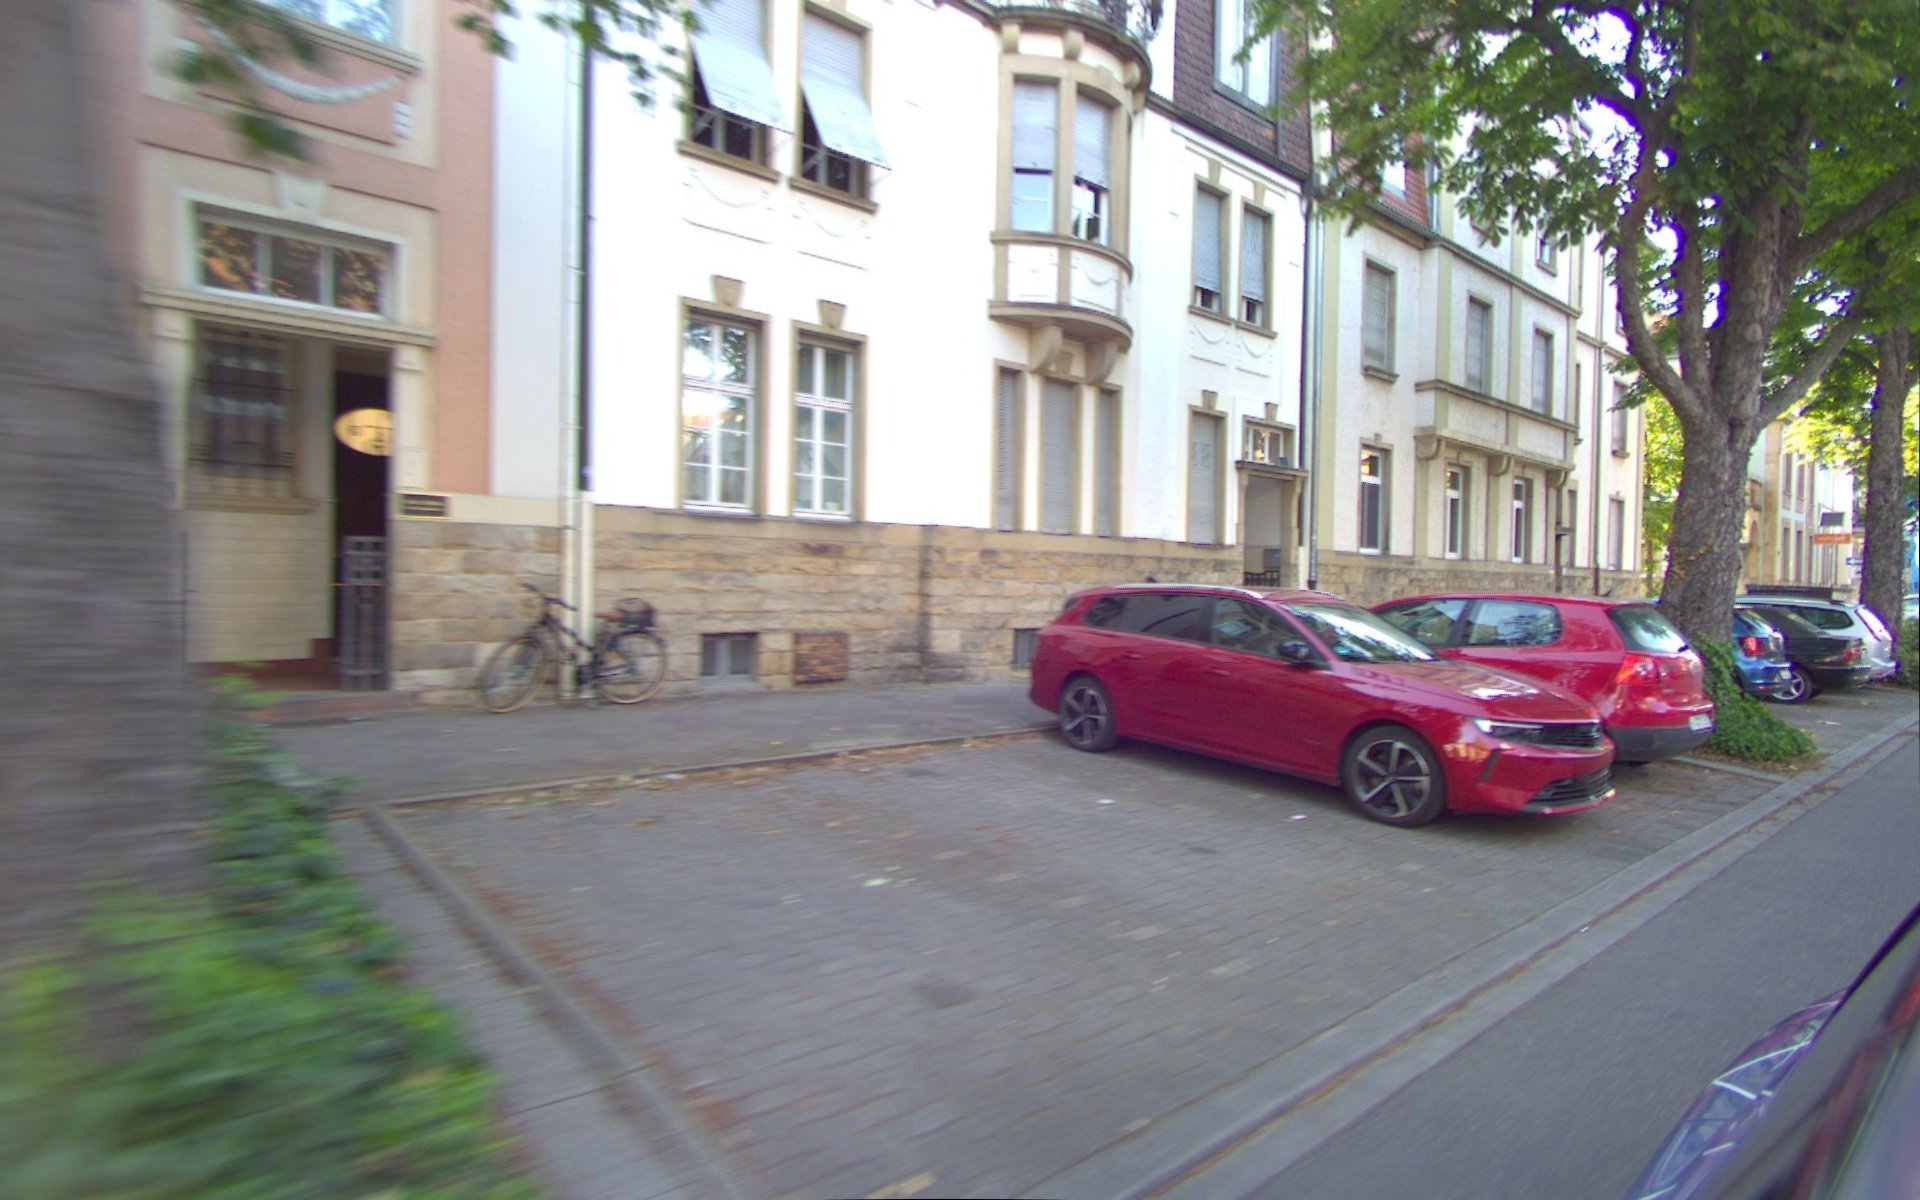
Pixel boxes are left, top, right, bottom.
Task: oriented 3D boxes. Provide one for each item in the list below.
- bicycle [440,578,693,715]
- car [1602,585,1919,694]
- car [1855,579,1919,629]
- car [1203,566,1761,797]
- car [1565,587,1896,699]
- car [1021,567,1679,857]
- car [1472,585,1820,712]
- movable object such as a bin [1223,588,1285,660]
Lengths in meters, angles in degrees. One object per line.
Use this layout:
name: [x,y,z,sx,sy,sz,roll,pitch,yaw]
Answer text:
bicycle: [-3.389,0.362,8.862,2.010,1.069,0.475,0,3,-42]
car: [13.701,0.568,17.422,1.682,1.596,4.155,0,1,-40]
car: [37.232,0.218,38.622,1.965,1.829,4.324,0,3,-40]
car: [4.542,0.523,9.410,1.818,1.493,4.203,0,3,-38]
car: [11.796,0.558,15.680,1.786,1.455,3.801,0,2,-40]
car: [2.641,0.559,7.867,1.842,1.436,4.425,0,3,-38]
car: [9.560,0.565,14.348,1.533,1.501,3.801,0,1,-40]
movable object such as a bin: [4.633,0.364,15.945,0.532,1.062,0.701,1,4,-41]
